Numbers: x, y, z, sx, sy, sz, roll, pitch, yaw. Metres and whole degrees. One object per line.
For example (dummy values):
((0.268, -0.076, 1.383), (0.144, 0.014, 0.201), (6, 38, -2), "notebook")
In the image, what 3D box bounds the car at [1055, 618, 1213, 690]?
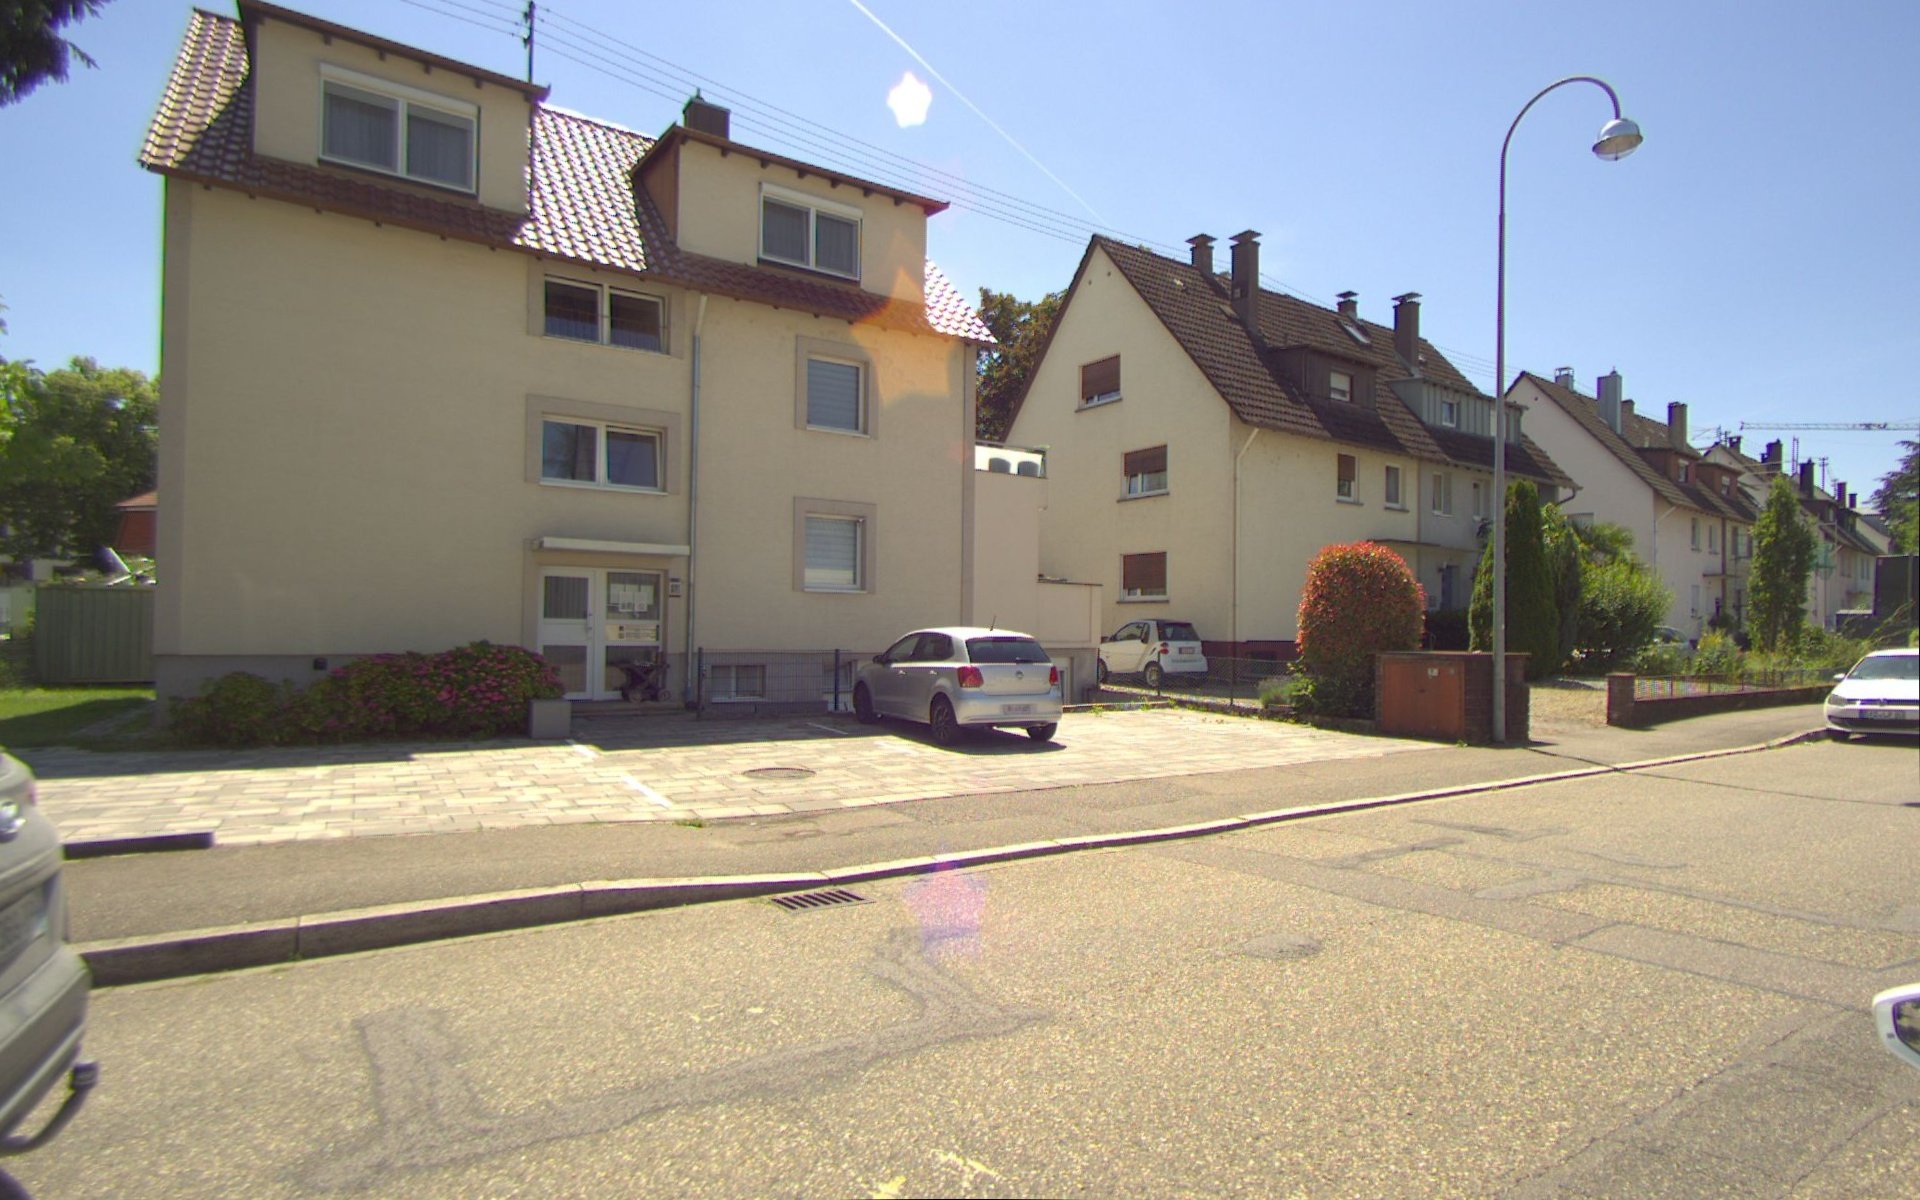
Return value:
((4.141, 1.231, 24.396), (1.630, 1.556, 3.759), (0, 0, -35), "car")

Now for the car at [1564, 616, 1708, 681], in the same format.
((18.384, 1.322, 27.262), (4.318, 1.527, 1.758), (4, -2, -34), "car")

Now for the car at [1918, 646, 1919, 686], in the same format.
((20.165, 1.586, 19.232), (4.317, 1.457, 1.758), (1, -4, -34), "car")

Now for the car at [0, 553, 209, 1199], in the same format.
((-3.835, 0.690, 1.484), (4.091, 1.524, 1.734), (1, -4, -28), "car")

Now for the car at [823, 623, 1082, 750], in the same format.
((-0.295, 1.095, 14.370), (1.824, 1.460, 4.449), (2, -1, -28), "car")

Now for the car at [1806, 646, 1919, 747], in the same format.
((15.262, 1.467, 16.115), (3.900, 1.442, 1.569), (1, -4, -35), "car")

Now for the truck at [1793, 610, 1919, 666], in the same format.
((33.744, 1.420, 37.567), (1.532, 1.963, 3.741), (1, -2, -37), "truck")
